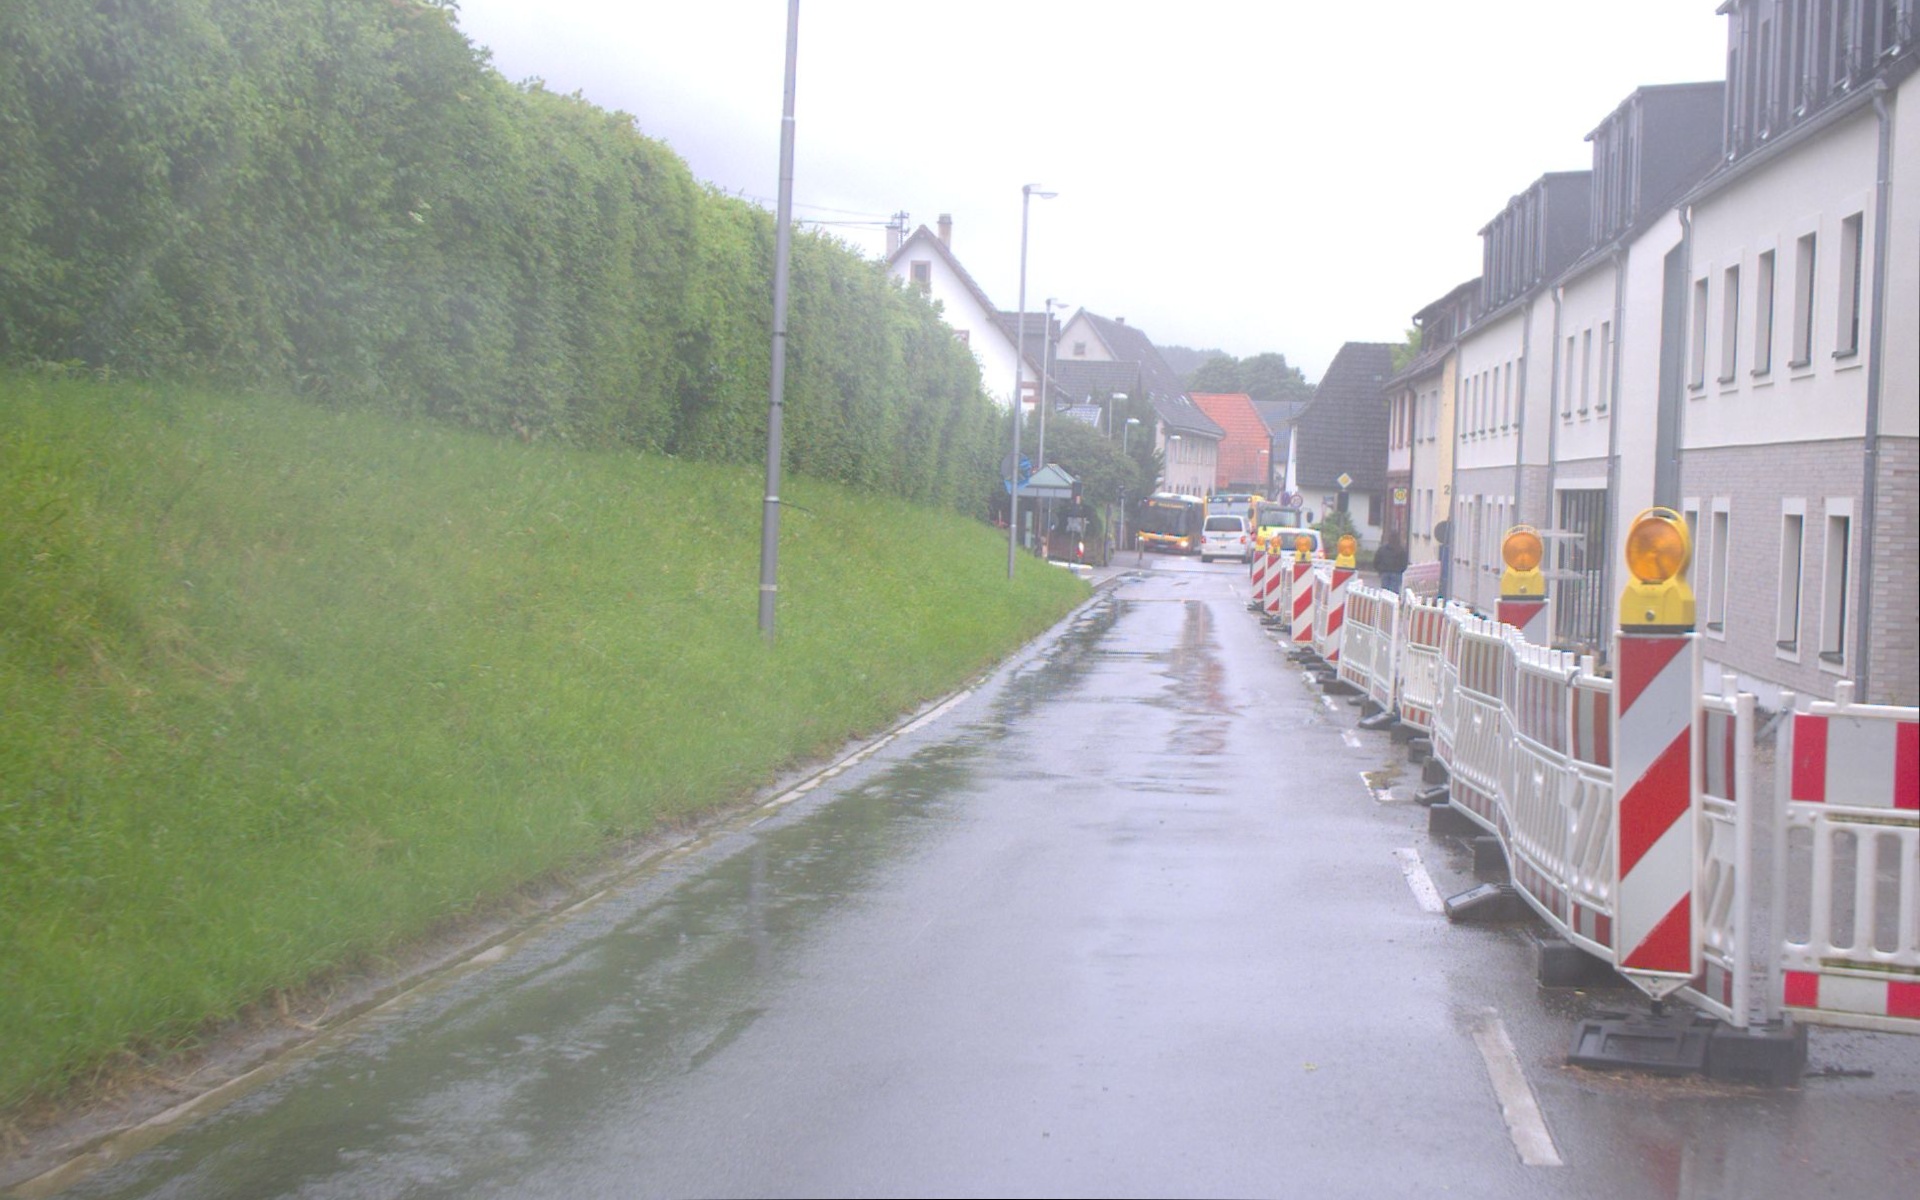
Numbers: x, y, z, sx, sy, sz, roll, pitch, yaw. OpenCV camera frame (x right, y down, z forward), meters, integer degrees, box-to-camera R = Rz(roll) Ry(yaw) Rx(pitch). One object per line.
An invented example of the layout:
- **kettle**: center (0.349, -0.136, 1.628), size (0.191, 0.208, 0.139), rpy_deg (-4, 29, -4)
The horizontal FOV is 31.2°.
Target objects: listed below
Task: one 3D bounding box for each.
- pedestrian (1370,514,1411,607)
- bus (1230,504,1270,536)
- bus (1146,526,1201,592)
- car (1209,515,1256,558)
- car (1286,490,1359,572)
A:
- **pedestrian**: center (8.268, -0.758, 66.093), size (0.665, 1.749, 0.812), rpy_deg (-3, 1, 5)
- **bus**: center (14.073, -3.866, 166.752), size (1.795, 1.405, 3.999), rpy_deg (4, 1, 6)
- **bus**: center (10.686, -2.048, 171.877), size (2.242, 3.092, 7.029), rpy_deg (4, 1, 6)
- **car**: center (11.148, -2.613, 140.834), size (1.818, 1.636, 4.095), rpy_deg (-3, 1, 4)
- **car**: center (11.120, -2.121, 105.675), size (1.994, 2.367, 4.095), rpy_deg (-3, 1, 4)
